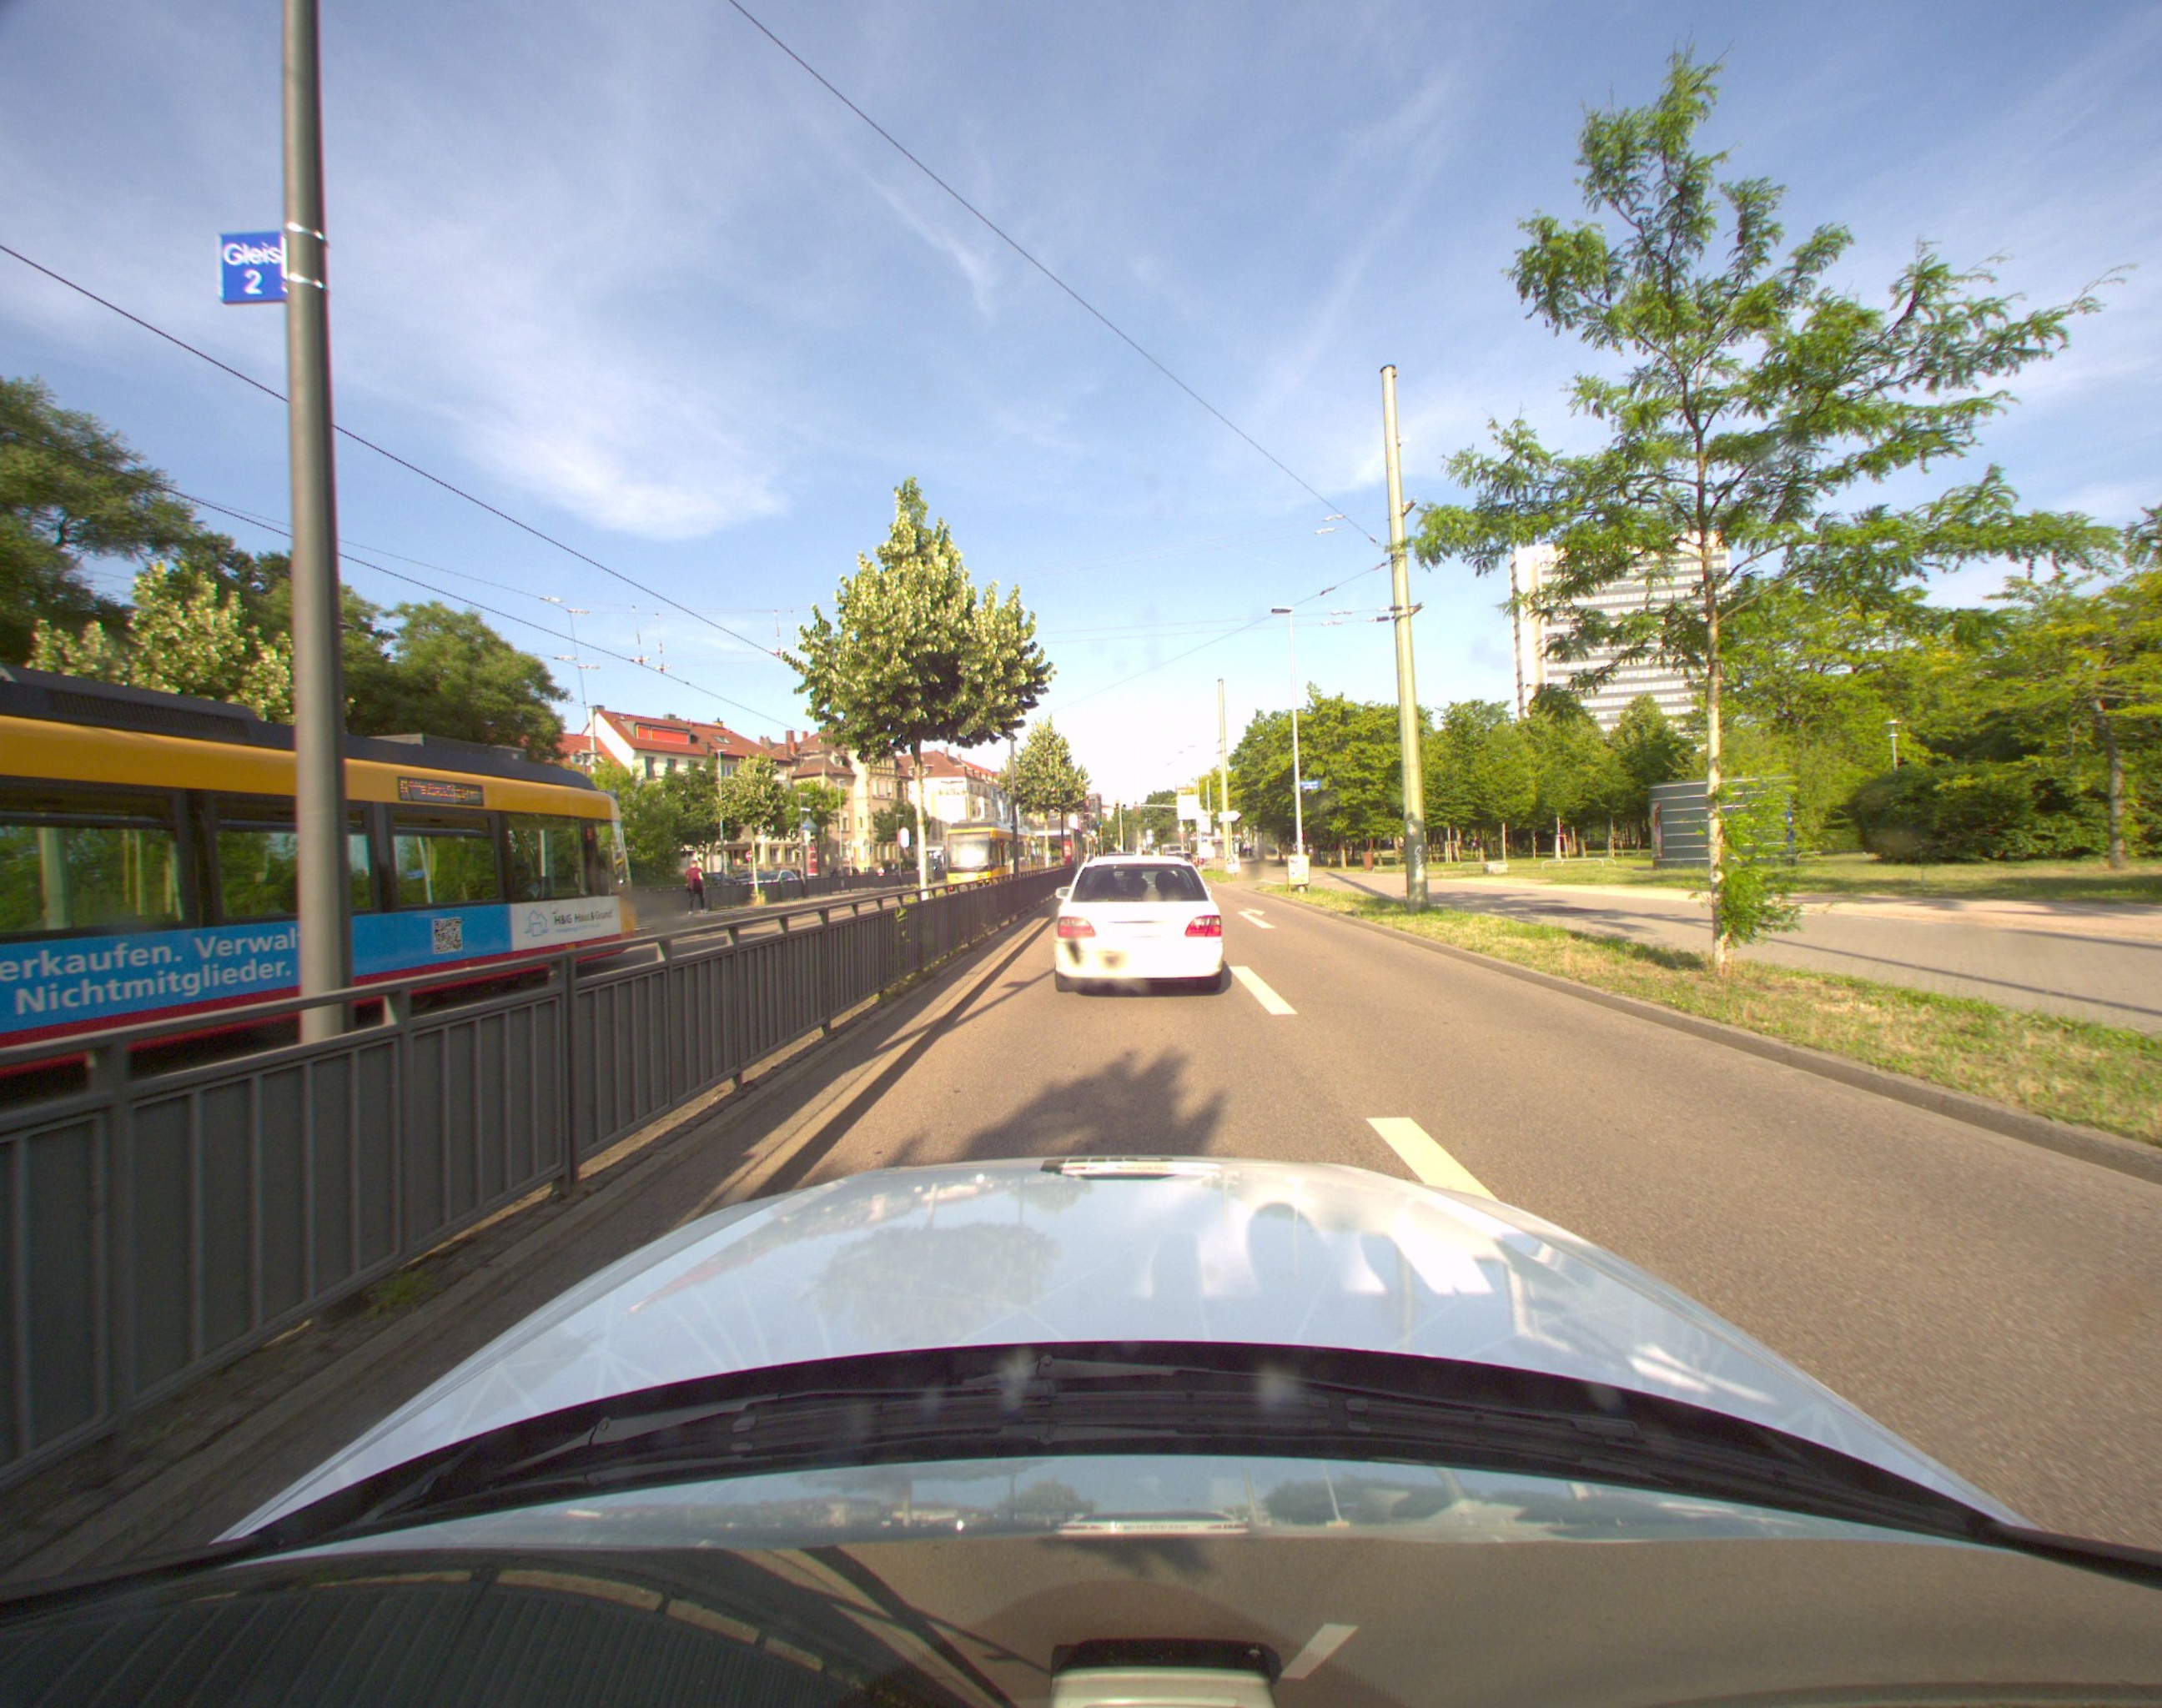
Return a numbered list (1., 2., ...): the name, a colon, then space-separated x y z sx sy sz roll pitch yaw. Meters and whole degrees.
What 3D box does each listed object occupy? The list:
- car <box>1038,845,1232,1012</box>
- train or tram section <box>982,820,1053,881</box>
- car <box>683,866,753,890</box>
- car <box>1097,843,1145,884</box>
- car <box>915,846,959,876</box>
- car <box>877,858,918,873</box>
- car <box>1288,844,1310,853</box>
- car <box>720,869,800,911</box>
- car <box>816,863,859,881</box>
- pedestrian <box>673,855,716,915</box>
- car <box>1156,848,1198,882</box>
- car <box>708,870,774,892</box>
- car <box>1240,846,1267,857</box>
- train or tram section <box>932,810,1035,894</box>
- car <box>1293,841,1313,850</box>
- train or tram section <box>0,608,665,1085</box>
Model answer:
1. car: 0.669 0.737 9.725 1.750 1.503 4.005 -3 -1 4
2. train or tram section: -3.918 -0.227 53.947 2.838 3.479 13.210 -2 0 3
3. car: -25.005 1.625 56.151 3.955 1.398 2.010 -2 2 17
4. car: 1.842 0.387 36.290 1.778 1.690 4.008 -2 0 7
5. car: -14.113 0.649 80.306 2.586 2.735 7.472 -2 0 2
6. car: -21.886 1.368 97.391 2.183 1.628 4.744 -2 0 26
7. car: 44.545 -1.040 166.543 4.006 1.651 1.984 -3 0 -24
8. car: -14.892 1.623 38.027 1.986 1.684 4.002 -2 0 2
9. car: -26.587 1.971 88.944 3.953 1.750 2.010 -2 0 20
10. pedestrian: -11.718 0.929 24.730 0.832 1.733 0.773 -3 0 3
11. car: 4.926 0.531 41.748 2.022 1.605 4.008 -2 0 7
12. car: -24.502 1.941 58.680 3.956 1.398 2.009 -2 0 17
13. car: 29.558 -0.452 139.596 3.949 1.651 2.012 -3 0 28
14. train or tram section: -4.514 -0.148 41.097 2.838 3.479 13.210 -1 0 3
15. car: 46.998 -1.714 172.089 3.956 1.651 2.009 -3 0 17
16. train or tram section: -9.413 -0.023 7.583 3.150 3.479 14.478 -2 0 2
